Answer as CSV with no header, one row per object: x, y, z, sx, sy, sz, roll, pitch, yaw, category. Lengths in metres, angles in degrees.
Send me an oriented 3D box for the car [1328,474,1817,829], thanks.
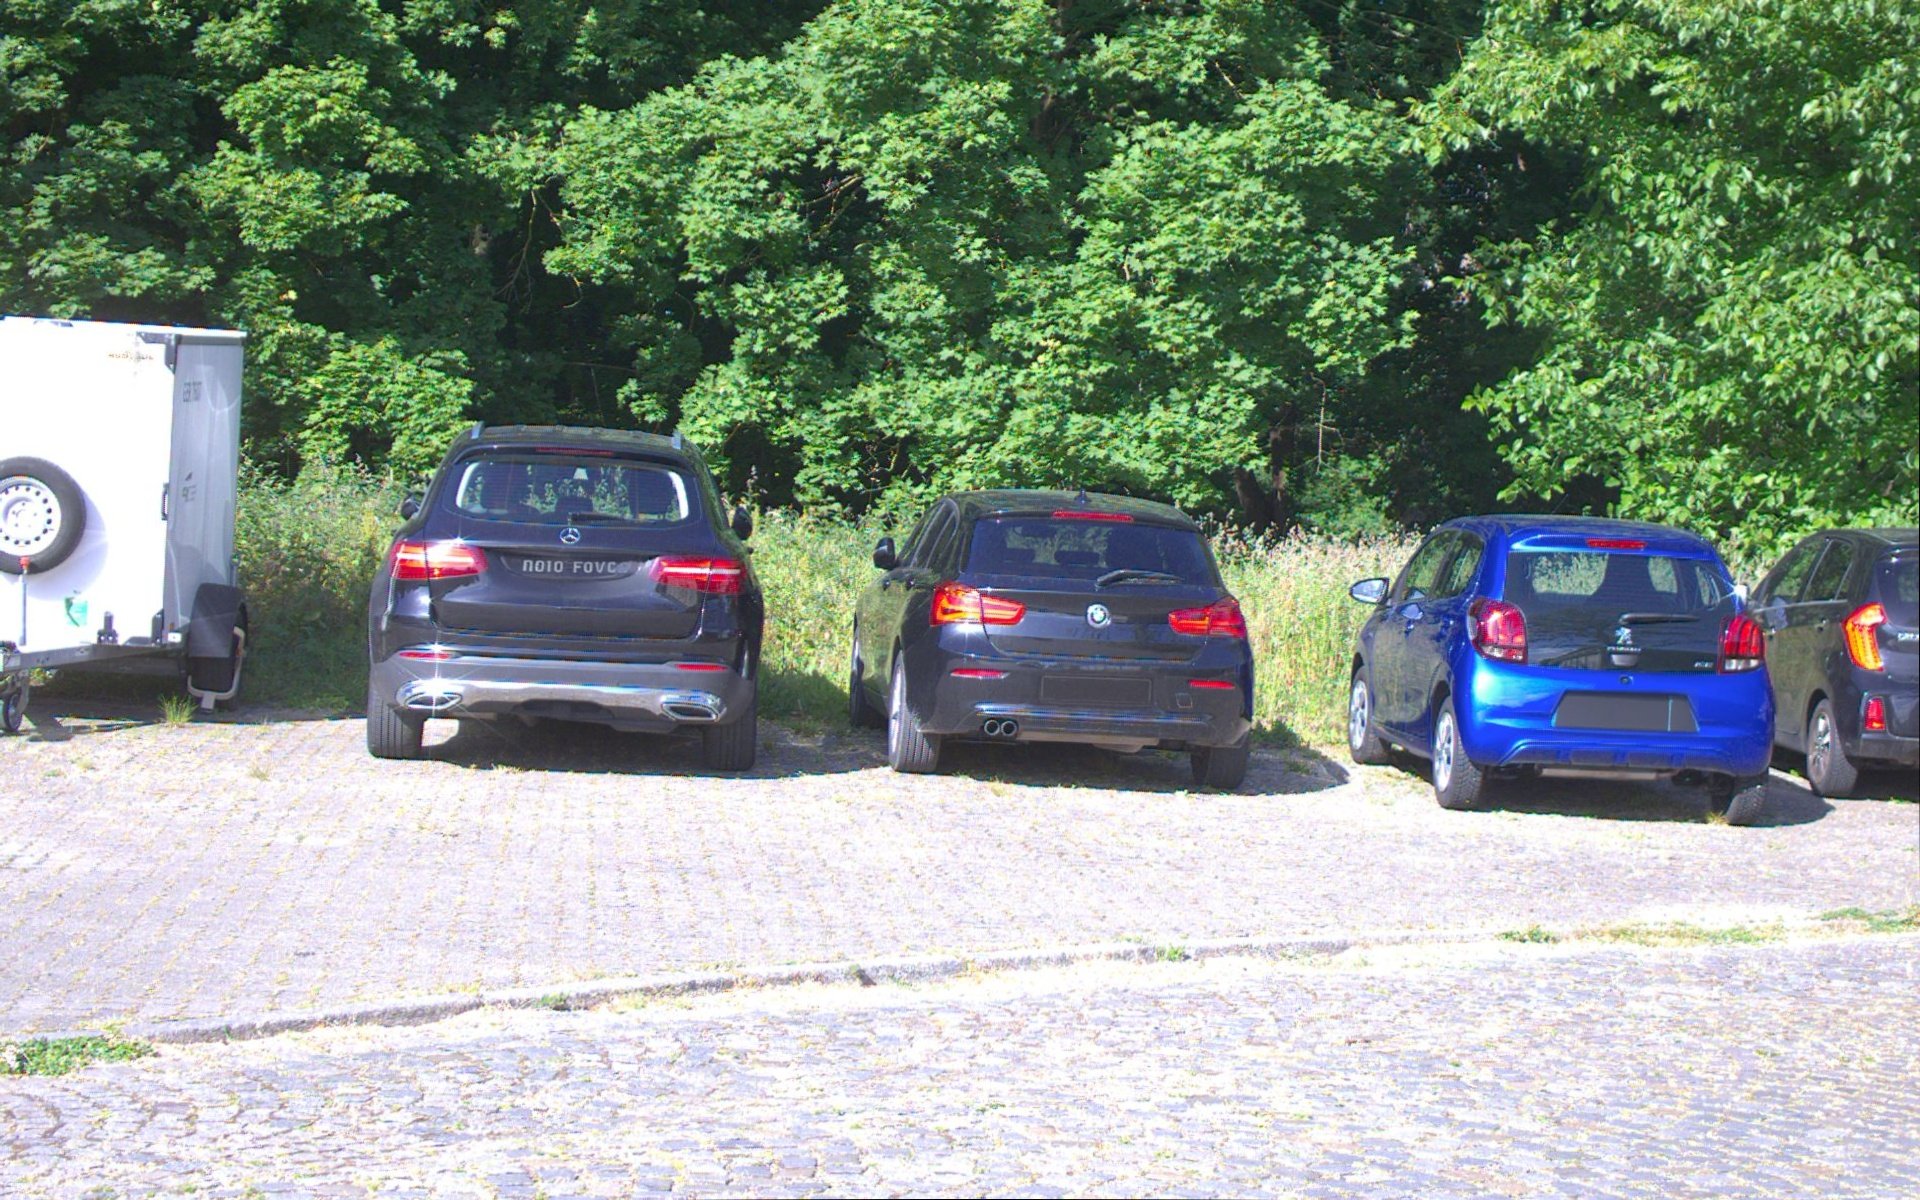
3.124,0.183,18.270,1.708,1.488,3.665,3,4,-3,car

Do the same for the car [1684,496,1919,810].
5.418,0.256,19.790,1.673,1.510,3.552,3,4,0,car

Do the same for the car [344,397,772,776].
-1.929,-0.142,17.514,1.862,1.635,3.821,3,2,-3,car

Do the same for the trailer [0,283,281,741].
-4.640,-0.547,17.881,1.633,2.086,3.974,3,3,-4,trailer

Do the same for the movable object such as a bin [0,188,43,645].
-7.201,-1.157,20.574,1.993,2.955,5.165,3,2,-1,movable object such as a bin

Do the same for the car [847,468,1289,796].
0.453,0.085,18.039,1.828,1.446,3.665,3,2,-5,car
